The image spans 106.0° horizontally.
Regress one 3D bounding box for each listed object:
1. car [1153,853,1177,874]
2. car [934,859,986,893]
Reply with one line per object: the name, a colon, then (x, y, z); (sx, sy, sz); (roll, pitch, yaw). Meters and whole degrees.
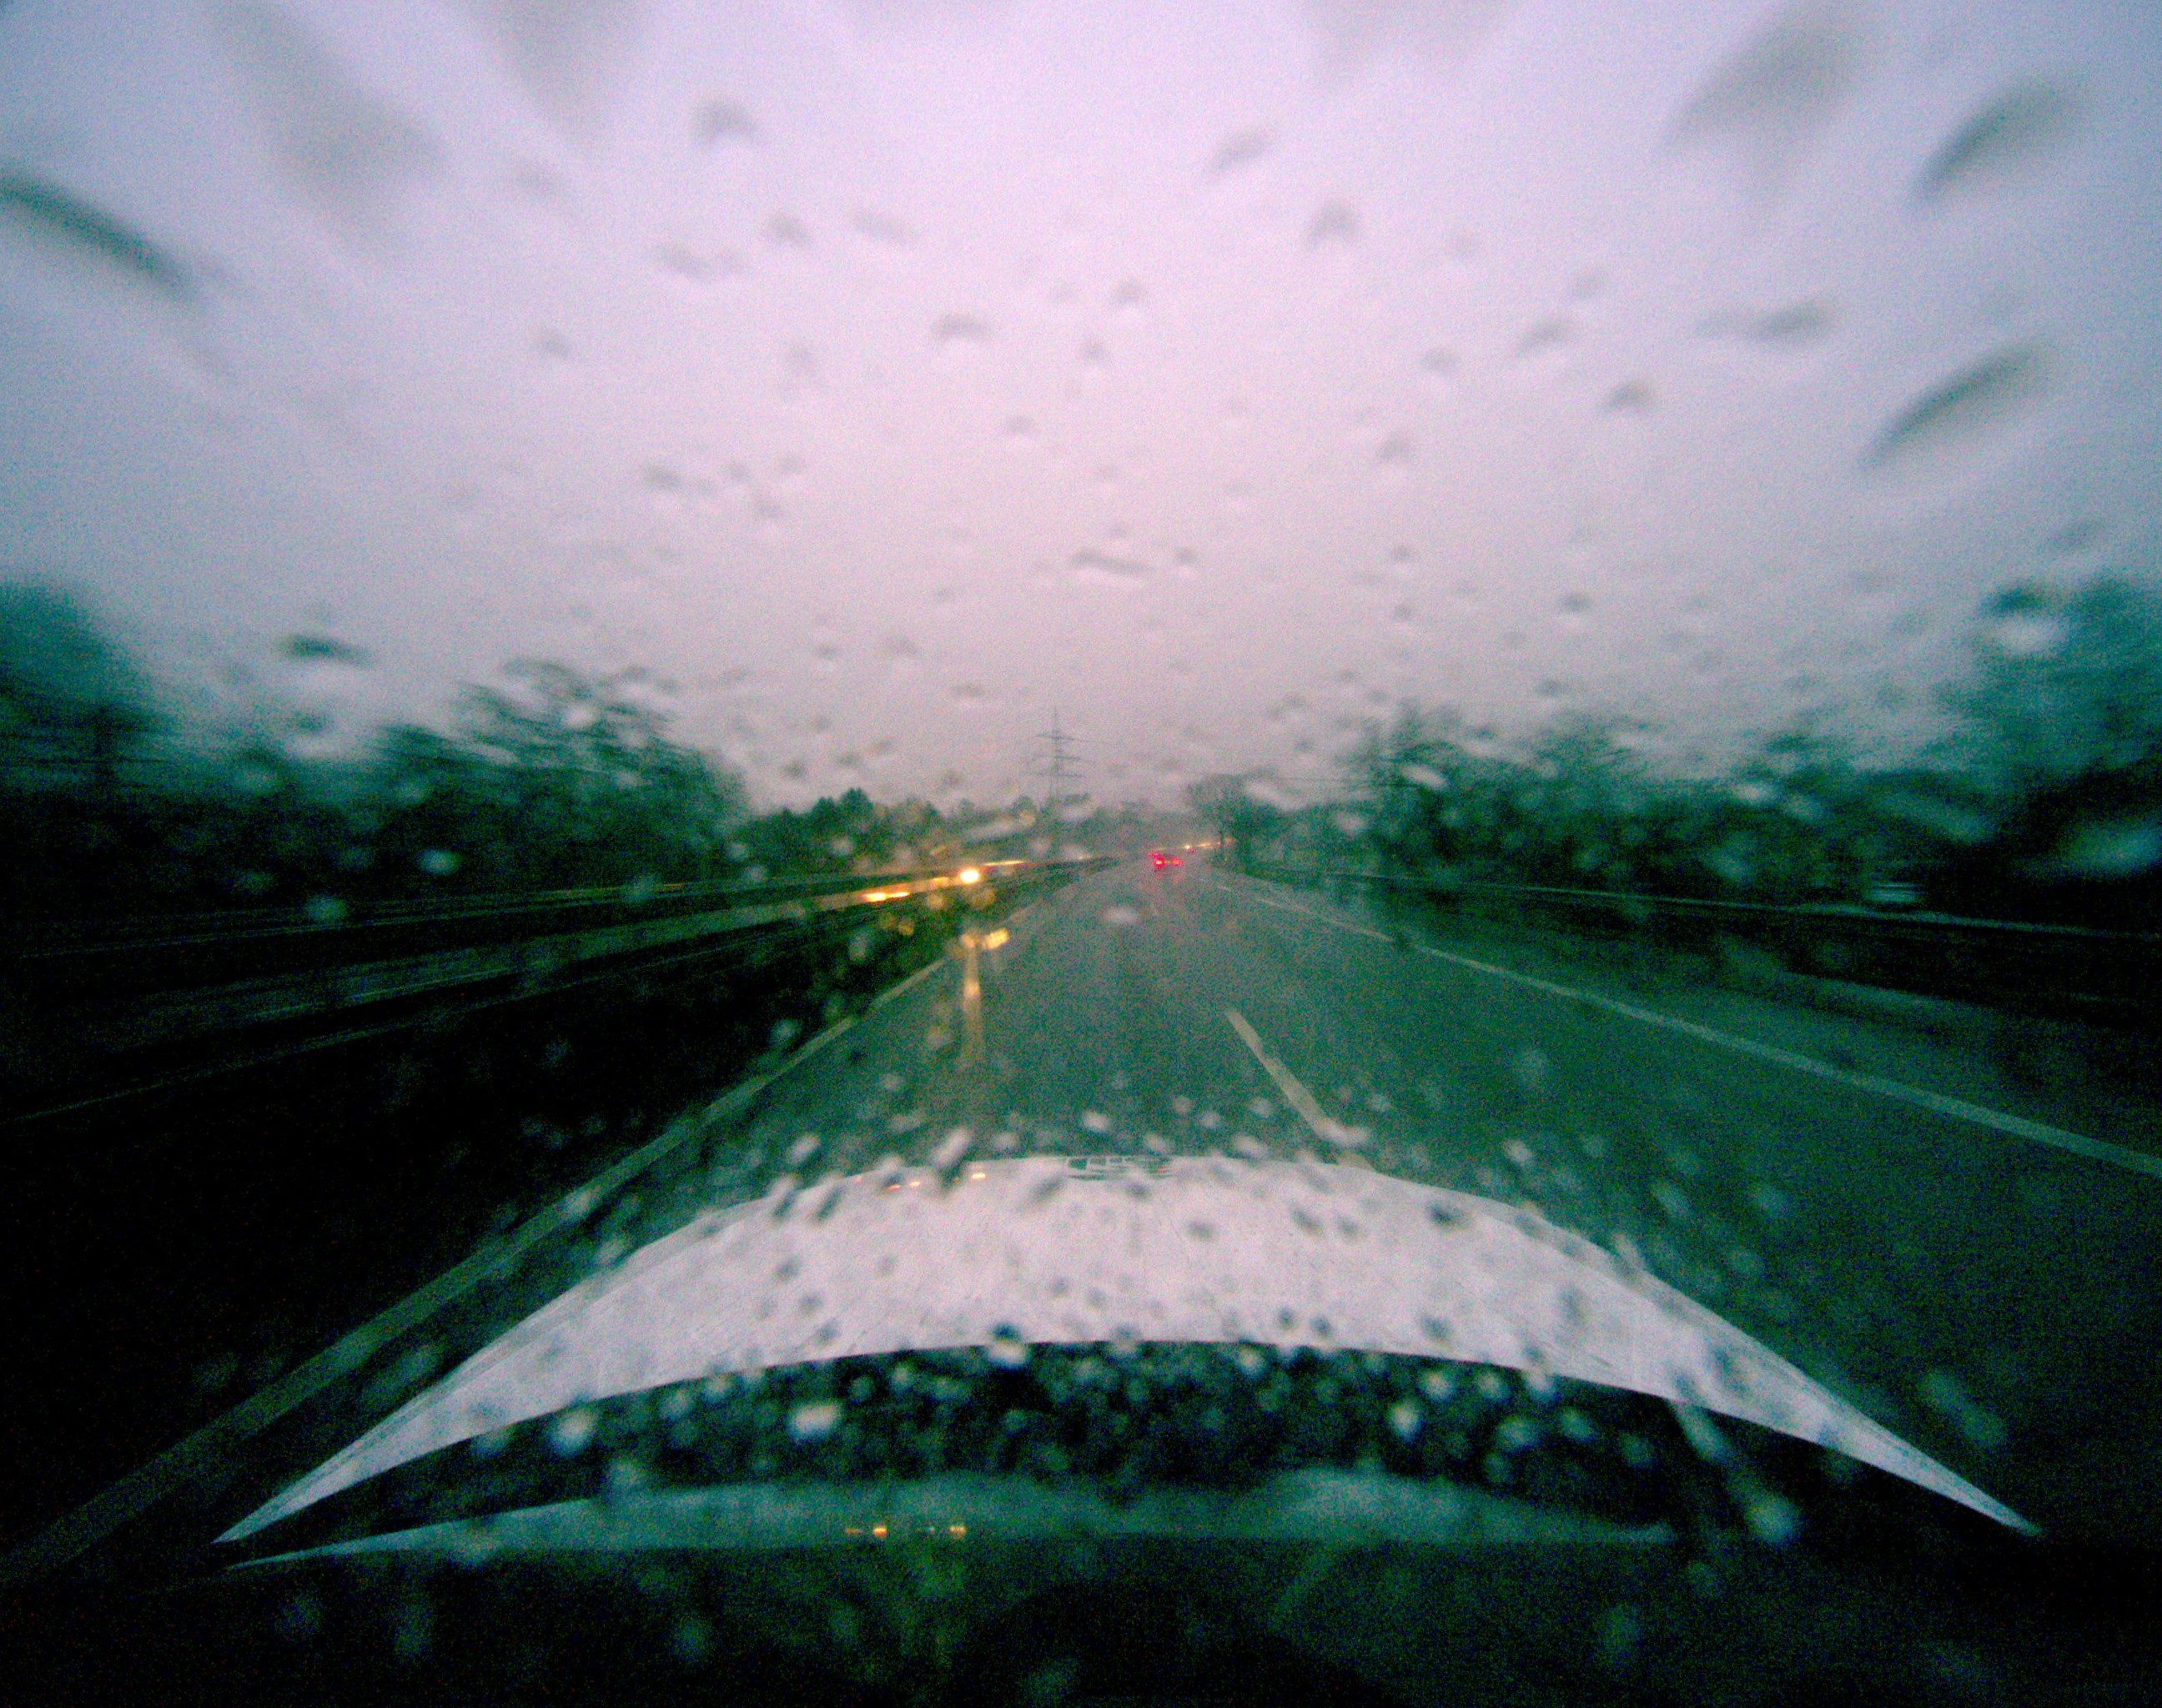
car: (6.720, 0.727, 64.889); (1.668, 1.508, 3.818); (-1, 1, 8)
car: (-6.379, 1.110, 43.352); (1.871, 1.423, 4.426); (-9, 0, 1)
